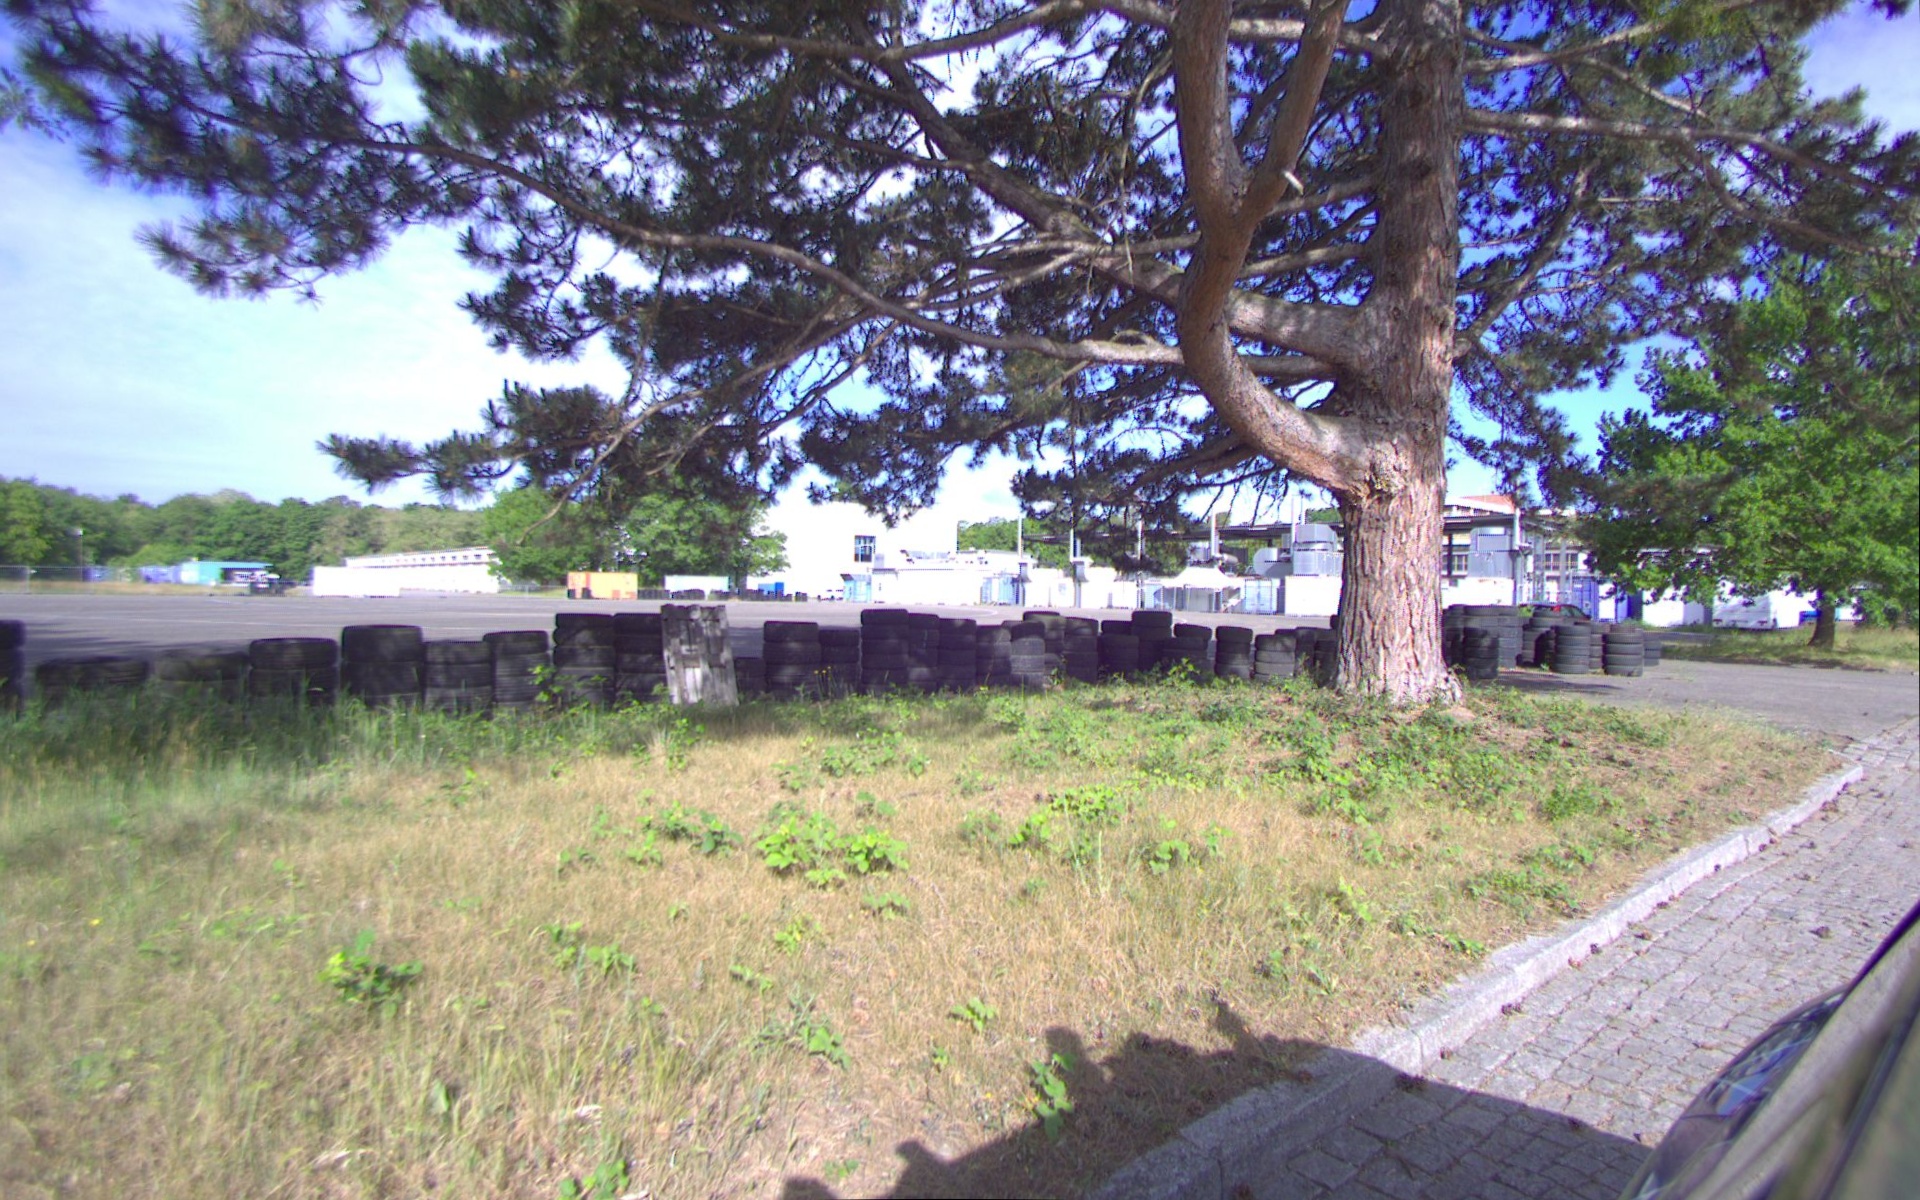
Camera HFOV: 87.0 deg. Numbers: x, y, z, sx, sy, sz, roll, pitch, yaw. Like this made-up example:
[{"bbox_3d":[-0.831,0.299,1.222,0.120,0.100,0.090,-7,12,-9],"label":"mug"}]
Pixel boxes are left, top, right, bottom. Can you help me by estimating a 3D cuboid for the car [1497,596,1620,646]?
[{"bbox_3d":[18.814,0.626,31.772,3.923,1.467,1.849,1,1,-35],"label":"car"}]
